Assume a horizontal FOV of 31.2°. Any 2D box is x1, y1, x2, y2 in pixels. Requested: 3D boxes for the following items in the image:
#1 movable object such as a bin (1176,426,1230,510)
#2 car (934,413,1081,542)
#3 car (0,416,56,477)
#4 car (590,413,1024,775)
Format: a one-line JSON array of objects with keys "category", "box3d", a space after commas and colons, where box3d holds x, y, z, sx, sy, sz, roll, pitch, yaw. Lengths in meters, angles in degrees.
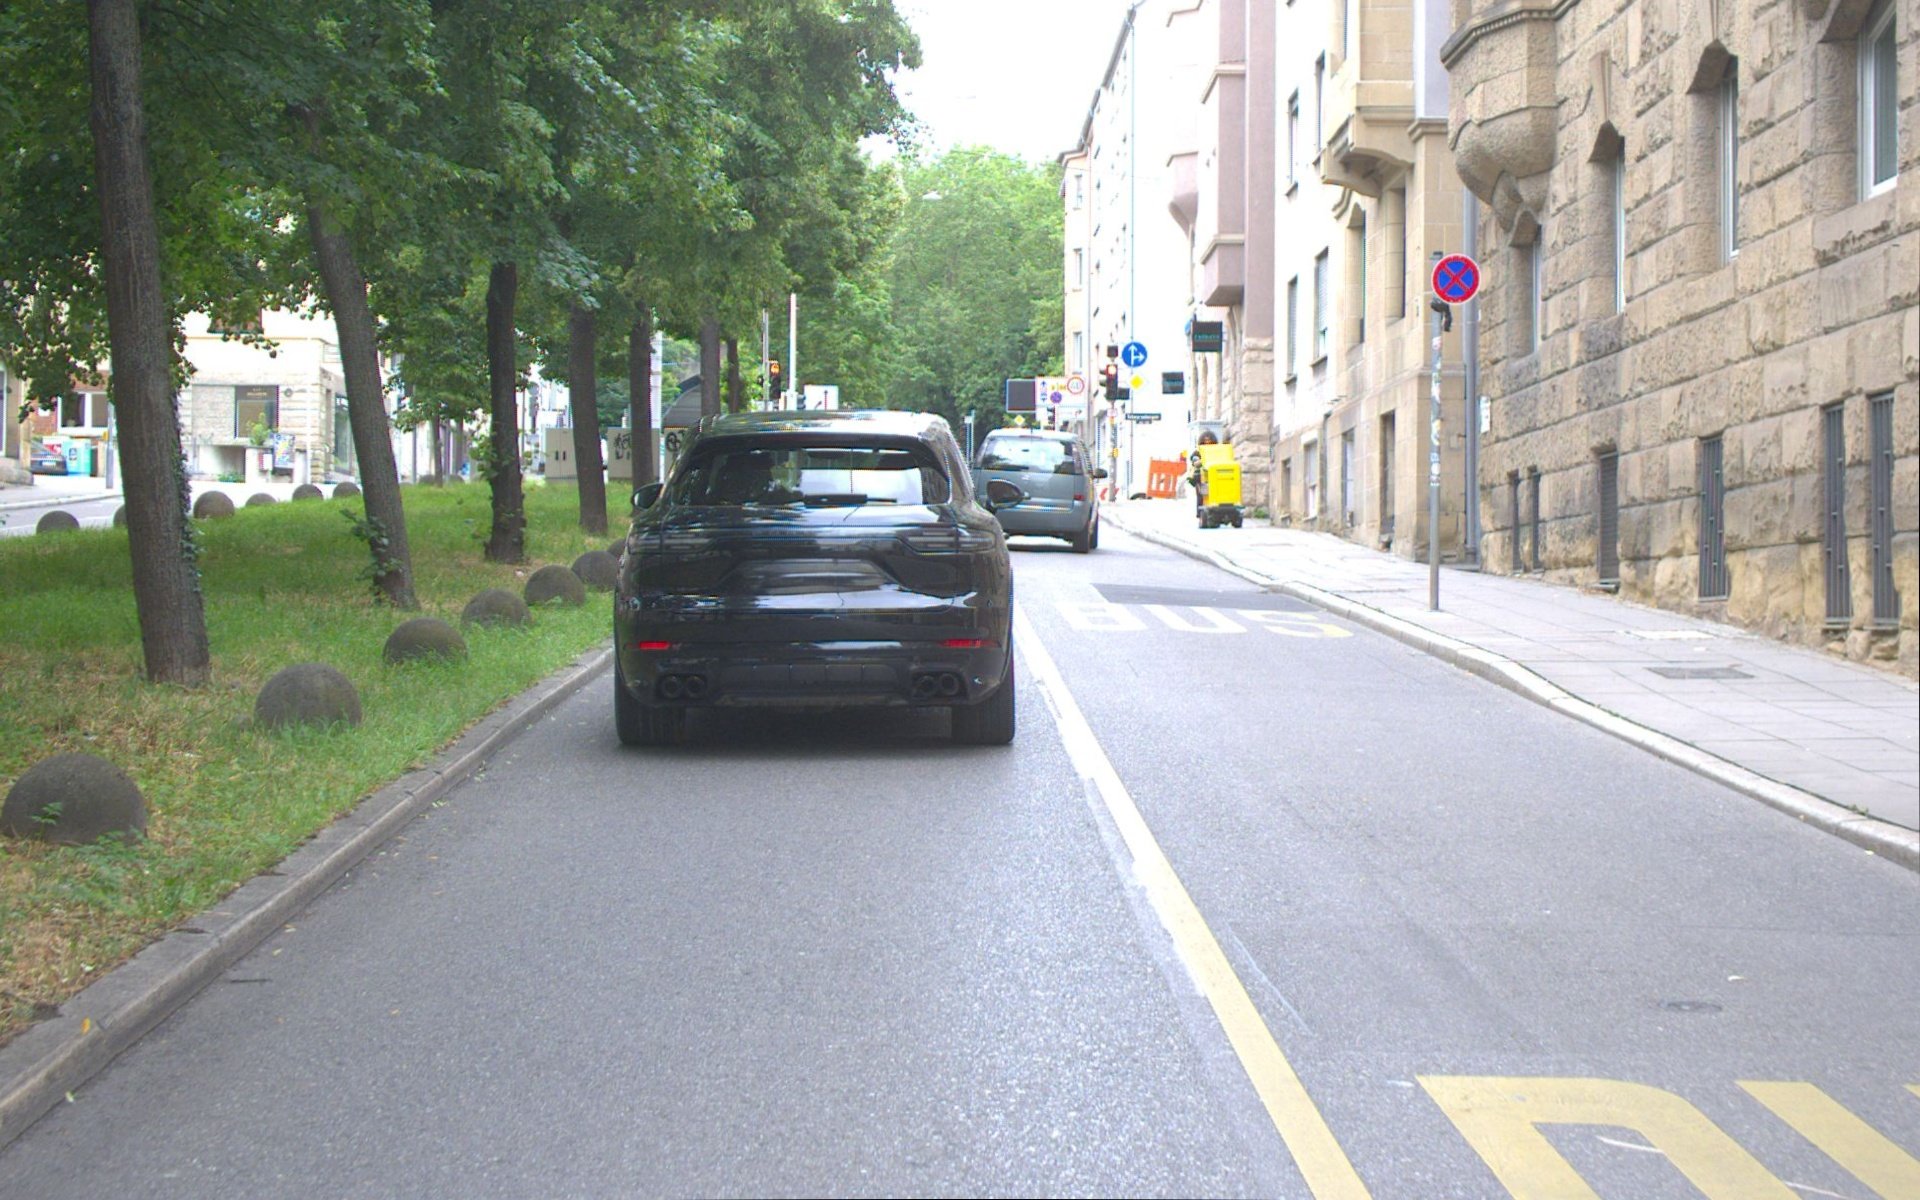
[{"category": "movable object such as a bin", "box3d": [4.201, -2.279, 59.538, 0.719, 1.416, 1.694, -1, 2, -3]}, {"category": "car", "box3d": [0.603, -1.690, 46.500, 1.752, 1.587, 3.632, 1, 4, -3]}, {"category": "car", "box3d": [-28.109, -4.384, 98.877, 3.994, 1.659, 1.879, 1, 1, 33]}, {"category": "car", "box3d": [-0.715, -0.134, 17.943, 1.994, 1.647, 4.001, -1, 3, 0]}]
